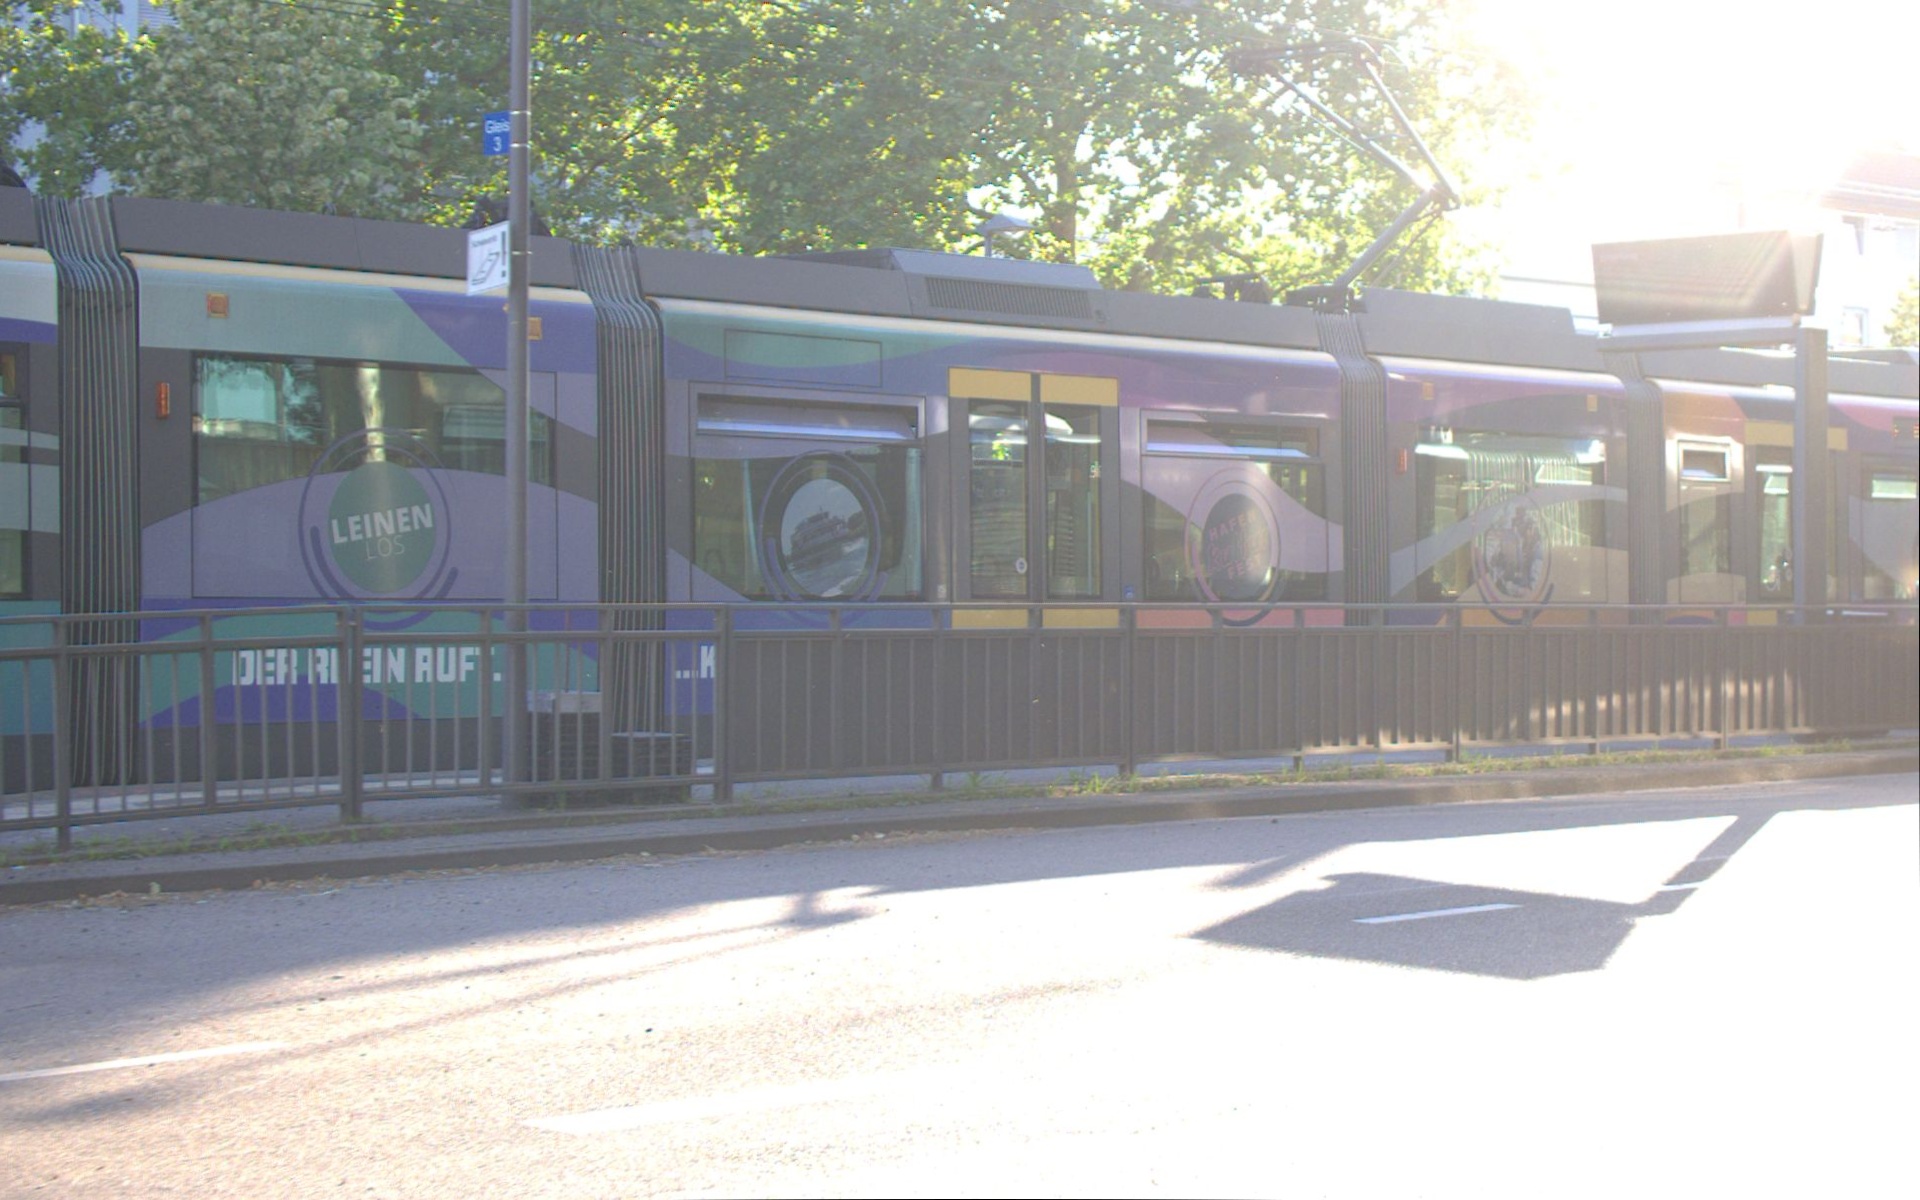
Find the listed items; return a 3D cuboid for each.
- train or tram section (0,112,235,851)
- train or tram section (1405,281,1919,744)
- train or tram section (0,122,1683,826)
[{"bbox_3d":[-9.270,-0.557,13.448,2.857,3.521,13.362,1,1,43],"label":"train or tram section"},{"bbox_3d":[9.342,-0.696,31.618,13.297,3.507,2.648,0,1,-44],"label":"train or tram section"},{"bbox_3d":[-0.062,-0.664,22.674,12.750,3.537,2.736,0,1,-44],"label":"train or tram section"}]
